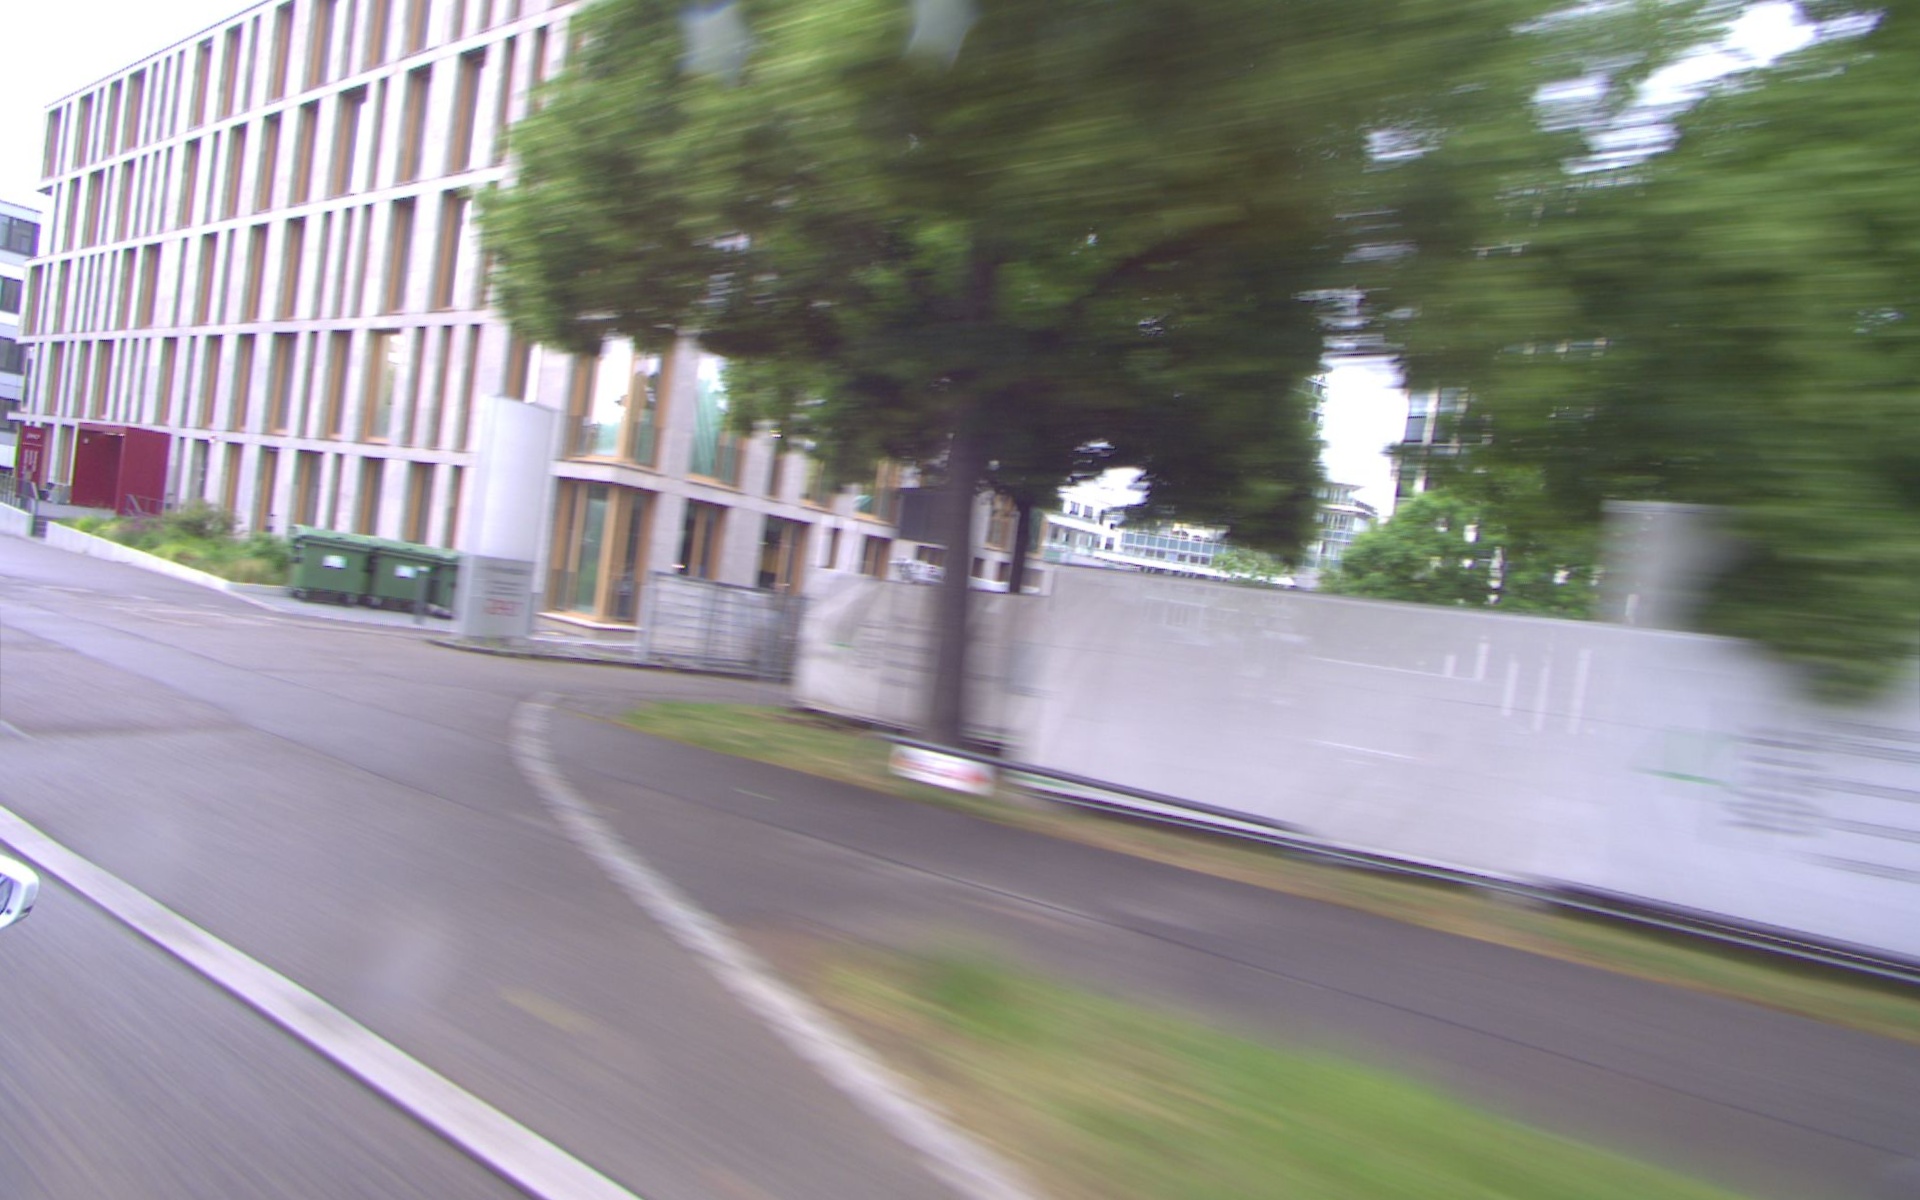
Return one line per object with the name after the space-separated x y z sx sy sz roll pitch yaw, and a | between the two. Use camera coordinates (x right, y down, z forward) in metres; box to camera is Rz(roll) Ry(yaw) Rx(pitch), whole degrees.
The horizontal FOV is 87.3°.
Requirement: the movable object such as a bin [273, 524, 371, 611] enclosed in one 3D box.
-12.777 -0.647 20.159 1.096 1.473 1.246 6 -4 43 | movable object such as a bin

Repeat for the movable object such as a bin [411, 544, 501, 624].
-11.057 -0.348 22.060 1.368 1.522 1.195 7 -1 42 | movable object such as a bin

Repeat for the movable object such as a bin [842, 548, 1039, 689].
-0.382 0.710 30.514 2.585 3.487 6.364 7 -2 32 | movable object such as a bin

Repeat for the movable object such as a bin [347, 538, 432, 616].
-12.039 -0.487 21.236 1.134 1.414 1.097 6 -4 43 | movable object such as a bin
